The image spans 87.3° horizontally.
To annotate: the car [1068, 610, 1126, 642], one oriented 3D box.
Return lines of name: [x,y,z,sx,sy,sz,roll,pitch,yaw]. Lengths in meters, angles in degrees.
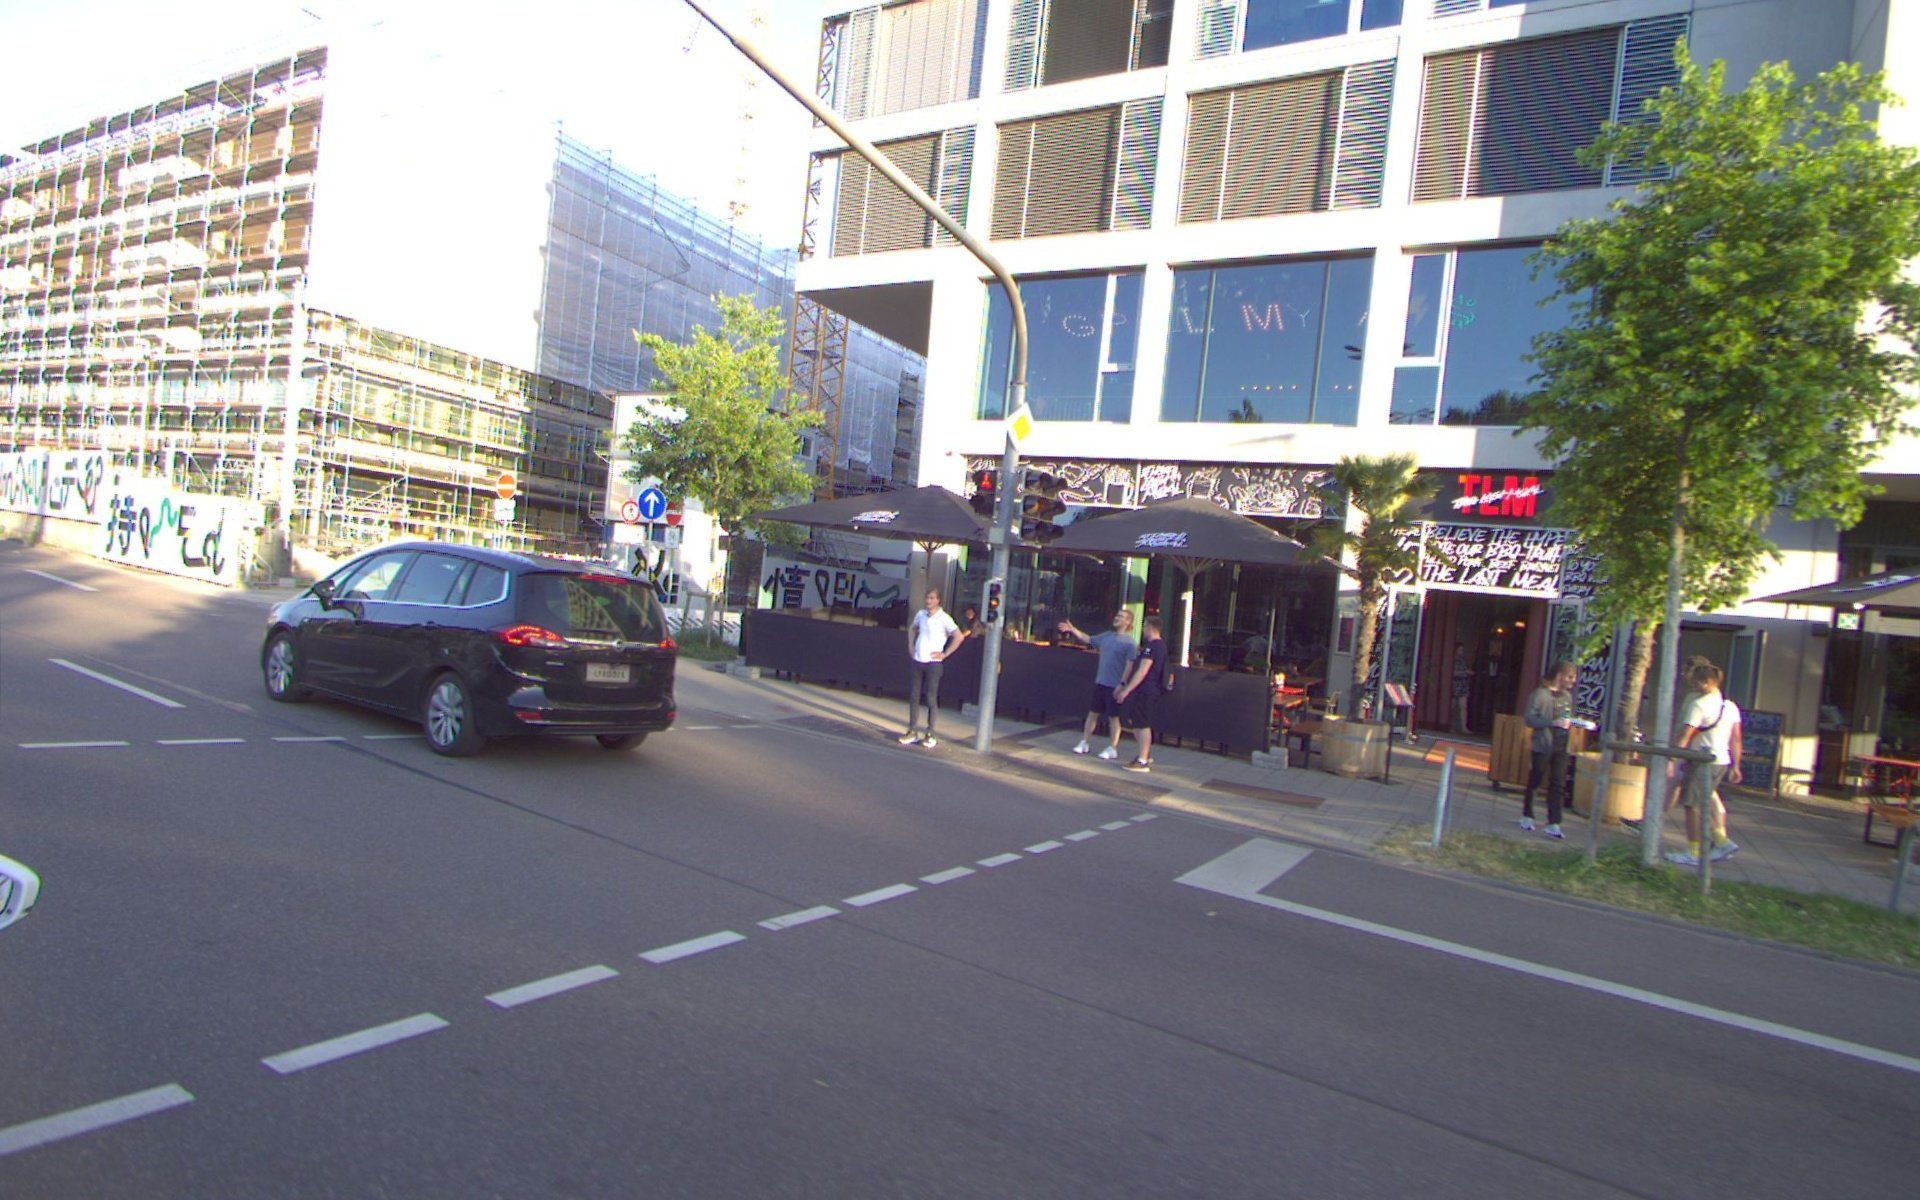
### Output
car: [7.093,1.347,51.752,1.640,1.370,3.994,7,1,26]

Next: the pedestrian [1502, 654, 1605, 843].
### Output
pedestrian: [5.913,1.444,10.073,0.567,1.726,0.855,6,2,20]

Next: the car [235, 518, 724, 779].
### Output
car: [-4.374,0.325,8.955,4.296,1.617,1.825,7,-1,33]

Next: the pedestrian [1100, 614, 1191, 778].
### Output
pedestrian: [2.103,1.057,11.383,0.677,1.725,0.654,7,3,29]

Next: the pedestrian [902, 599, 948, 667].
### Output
pedestrian: [-0.730,0.689,20.912,0.610,1.337,0.613,1,5,-43]

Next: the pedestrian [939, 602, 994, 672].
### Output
pedestrian: [0.126,0.747,20.446,0.704,1.337,0.743,8,5,42]

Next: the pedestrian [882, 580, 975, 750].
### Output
pedestrian: [-0.363,0.748,11.879,0.756,1.872,0.678,6,2,14]

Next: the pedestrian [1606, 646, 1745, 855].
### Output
pedestrian: [7.194,1.465,10.176,0.851,1.913,0.825,5,2,25]

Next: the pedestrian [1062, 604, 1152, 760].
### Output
pedestrian: [1.780,0.959,12.150,0.676,1.759,0.758,7,4,31]

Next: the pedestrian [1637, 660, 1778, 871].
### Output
pedestrian: [7.004,1.513,9.469,0.814,1.810,0.577,5,2,25]
